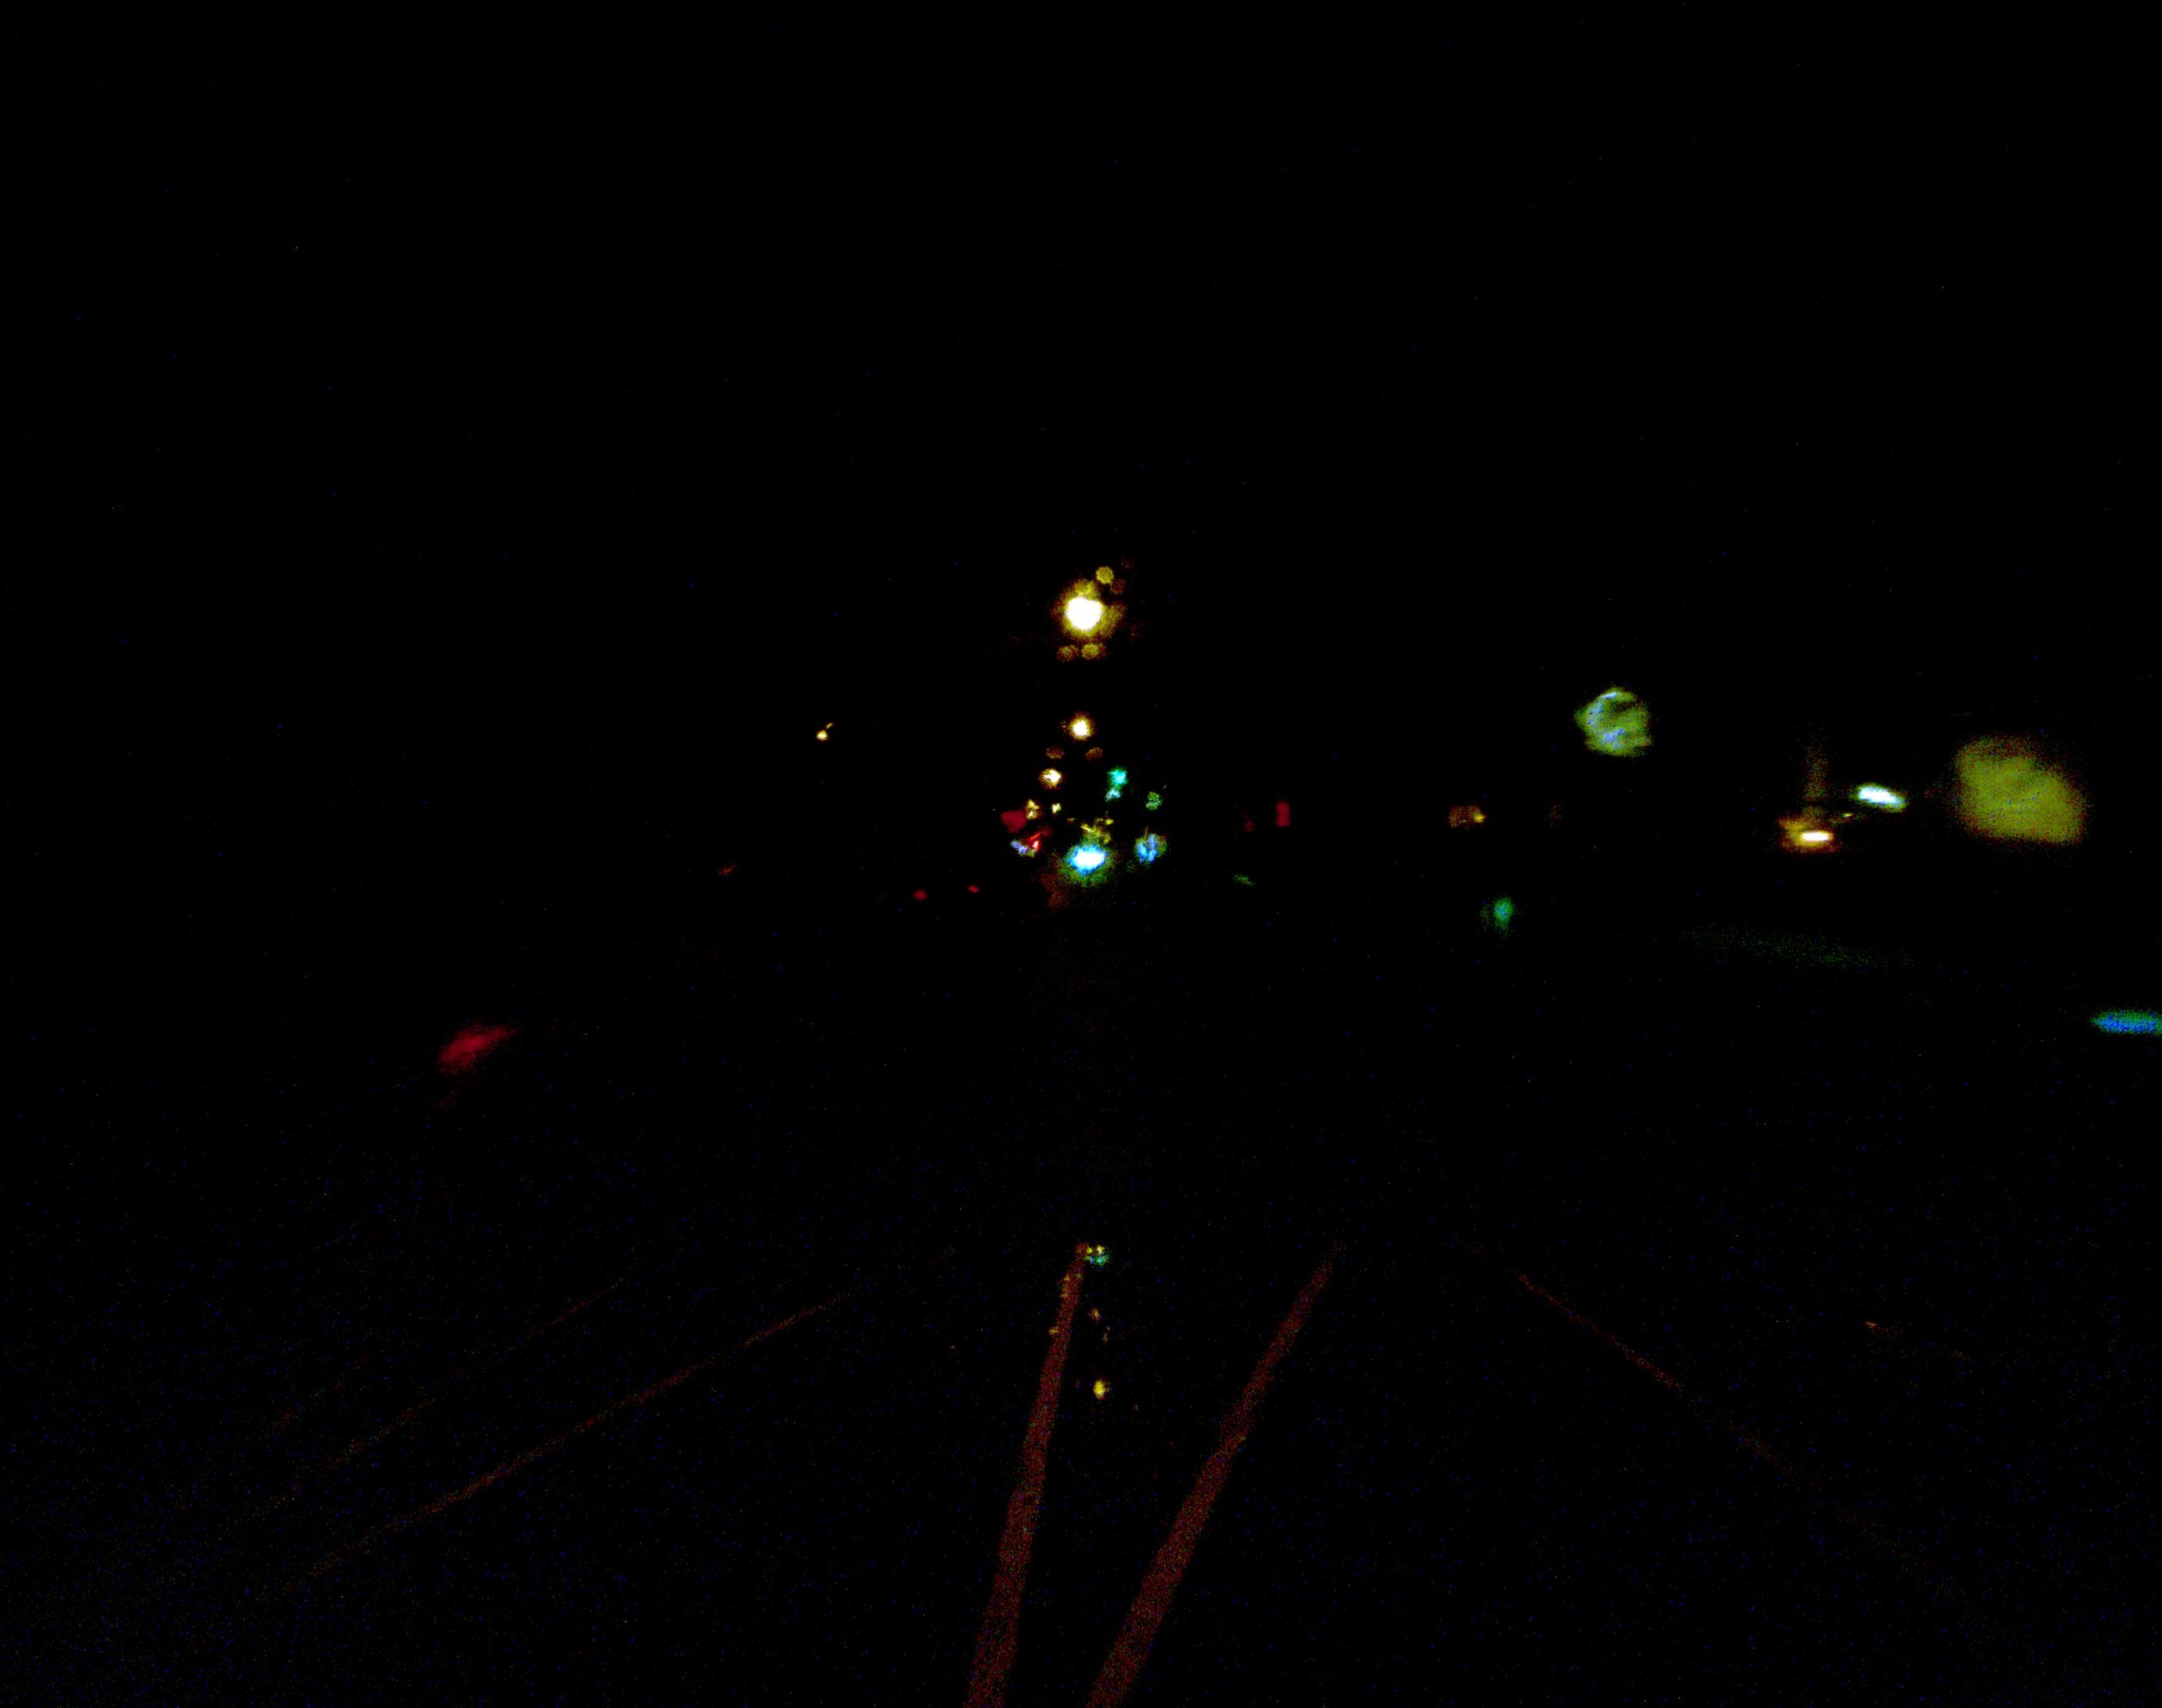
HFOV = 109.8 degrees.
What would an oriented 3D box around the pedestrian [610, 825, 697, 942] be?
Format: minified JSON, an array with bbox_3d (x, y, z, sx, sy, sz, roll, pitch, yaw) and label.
[{"bbox_3d":[-7.148,0.468,12.747,0.841,1.825,0.947,4,2,-4],"label":"pedestrian"}]

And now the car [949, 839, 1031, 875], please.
[{"bbox_3d":[-6.073,0.200,50.890,4.951,2.327,2.225,0,1,-34],"label":"car"}]

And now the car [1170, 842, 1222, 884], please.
[{"bbox_3d":[5.400,0.385,36.243,1.871,1.835,4.827,0,0,1],"label":"car"}]

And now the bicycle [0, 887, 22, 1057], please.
[{"bbox_3d":[-8.519,0.791,5.055,1.978,1.184,0.509,2,1,-6],"label":"bicycle"}]

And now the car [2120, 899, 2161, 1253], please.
[{"bbox_3d":[4.958,0.857,0.911,1.658,1.351,4.221,-1,0,0],"label":"car"}]

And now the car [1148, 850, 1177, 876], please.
[{"bbox_3d":[5.539,0.562,51.776,1.816,1.660,4.413,-1,0,6],"label":"car"}]

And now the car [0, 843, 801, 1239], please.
[{"bbox_3d":[-4.006,0.831,4.938,3.781,1.718,1.712,-2,1,-33],"label":"car"}]

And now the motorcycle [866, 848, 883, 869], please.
[{"bbox_3d":[-10.711,0.206,39.456,0.524,1.061,2.056,-1,1,-7],"label":"motorcycle"}]

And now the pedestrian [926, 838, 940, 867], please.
[{"bbox_3d":[-9.685,-0.080,49.708,0.747,1.829,0.843,2,-1,-1],"label":"pedestrian"}]

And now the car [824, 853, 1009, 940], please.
[{"bbox_3d":[-3.490,0.814,16.057,3.569,1.601,1.710,-1,1,-21],"label":"car"}]

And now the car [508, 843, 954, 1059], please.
[{"bbox_3d":[-3.477,0.791,7.974,3.809,1.718,1.737,-2,1,-30],"label":"car"}]

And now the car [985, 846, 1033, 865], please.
[{"bbox_3d":[-6.477,0.137,68.305,3.809,1.679,1.831,1,0,-31],"label":"car"}]

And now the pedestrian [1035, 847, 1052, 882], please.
[{"bbox_3d":[-1.949,0.543,39.210,0.824,1.760,1.177,0,1,0],"label":"pedestrian"}]

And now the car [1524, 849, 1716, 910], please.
[{"bbox_3d":[14.382,0.660,20.434,3.943,1.562,1.716,0,1,0],"label":"car"}]

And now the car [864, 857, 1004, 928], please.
[{"bbox_3d":[-3.551,0.869,18.309,3.052,1.543,1.502,-1,1,-21],"label":"car"}]

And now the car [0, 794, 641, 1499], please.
[{"bbox_3d":[-3.868,0.731,2.272,4.256,1.848,1.712,1,1,-35],"label":"car"}]

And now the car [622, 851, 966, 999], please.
[{"bbox_3d":[-3.850,0.803,10.407,4.068,1.601,1.840,-1,1,-29],"label":"car"}]

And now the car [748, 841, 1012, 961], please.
[{"bbox_3d":[-3.489,0.698,13.280,4.112,1.754,1.855,-1,1,-27],"label":"car"}]

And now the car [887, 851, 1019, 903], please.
[{"bbox_3d":[-3.989,0.710,23.729,3.717,1.514,1.653,1,1,-25],"label":"car"}]

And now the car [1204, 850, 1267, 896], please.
[{"bbox_3d":[5.381,0.620,26.858,1.550,1.434,3.563,-2,0,1],"label":"car"}]
